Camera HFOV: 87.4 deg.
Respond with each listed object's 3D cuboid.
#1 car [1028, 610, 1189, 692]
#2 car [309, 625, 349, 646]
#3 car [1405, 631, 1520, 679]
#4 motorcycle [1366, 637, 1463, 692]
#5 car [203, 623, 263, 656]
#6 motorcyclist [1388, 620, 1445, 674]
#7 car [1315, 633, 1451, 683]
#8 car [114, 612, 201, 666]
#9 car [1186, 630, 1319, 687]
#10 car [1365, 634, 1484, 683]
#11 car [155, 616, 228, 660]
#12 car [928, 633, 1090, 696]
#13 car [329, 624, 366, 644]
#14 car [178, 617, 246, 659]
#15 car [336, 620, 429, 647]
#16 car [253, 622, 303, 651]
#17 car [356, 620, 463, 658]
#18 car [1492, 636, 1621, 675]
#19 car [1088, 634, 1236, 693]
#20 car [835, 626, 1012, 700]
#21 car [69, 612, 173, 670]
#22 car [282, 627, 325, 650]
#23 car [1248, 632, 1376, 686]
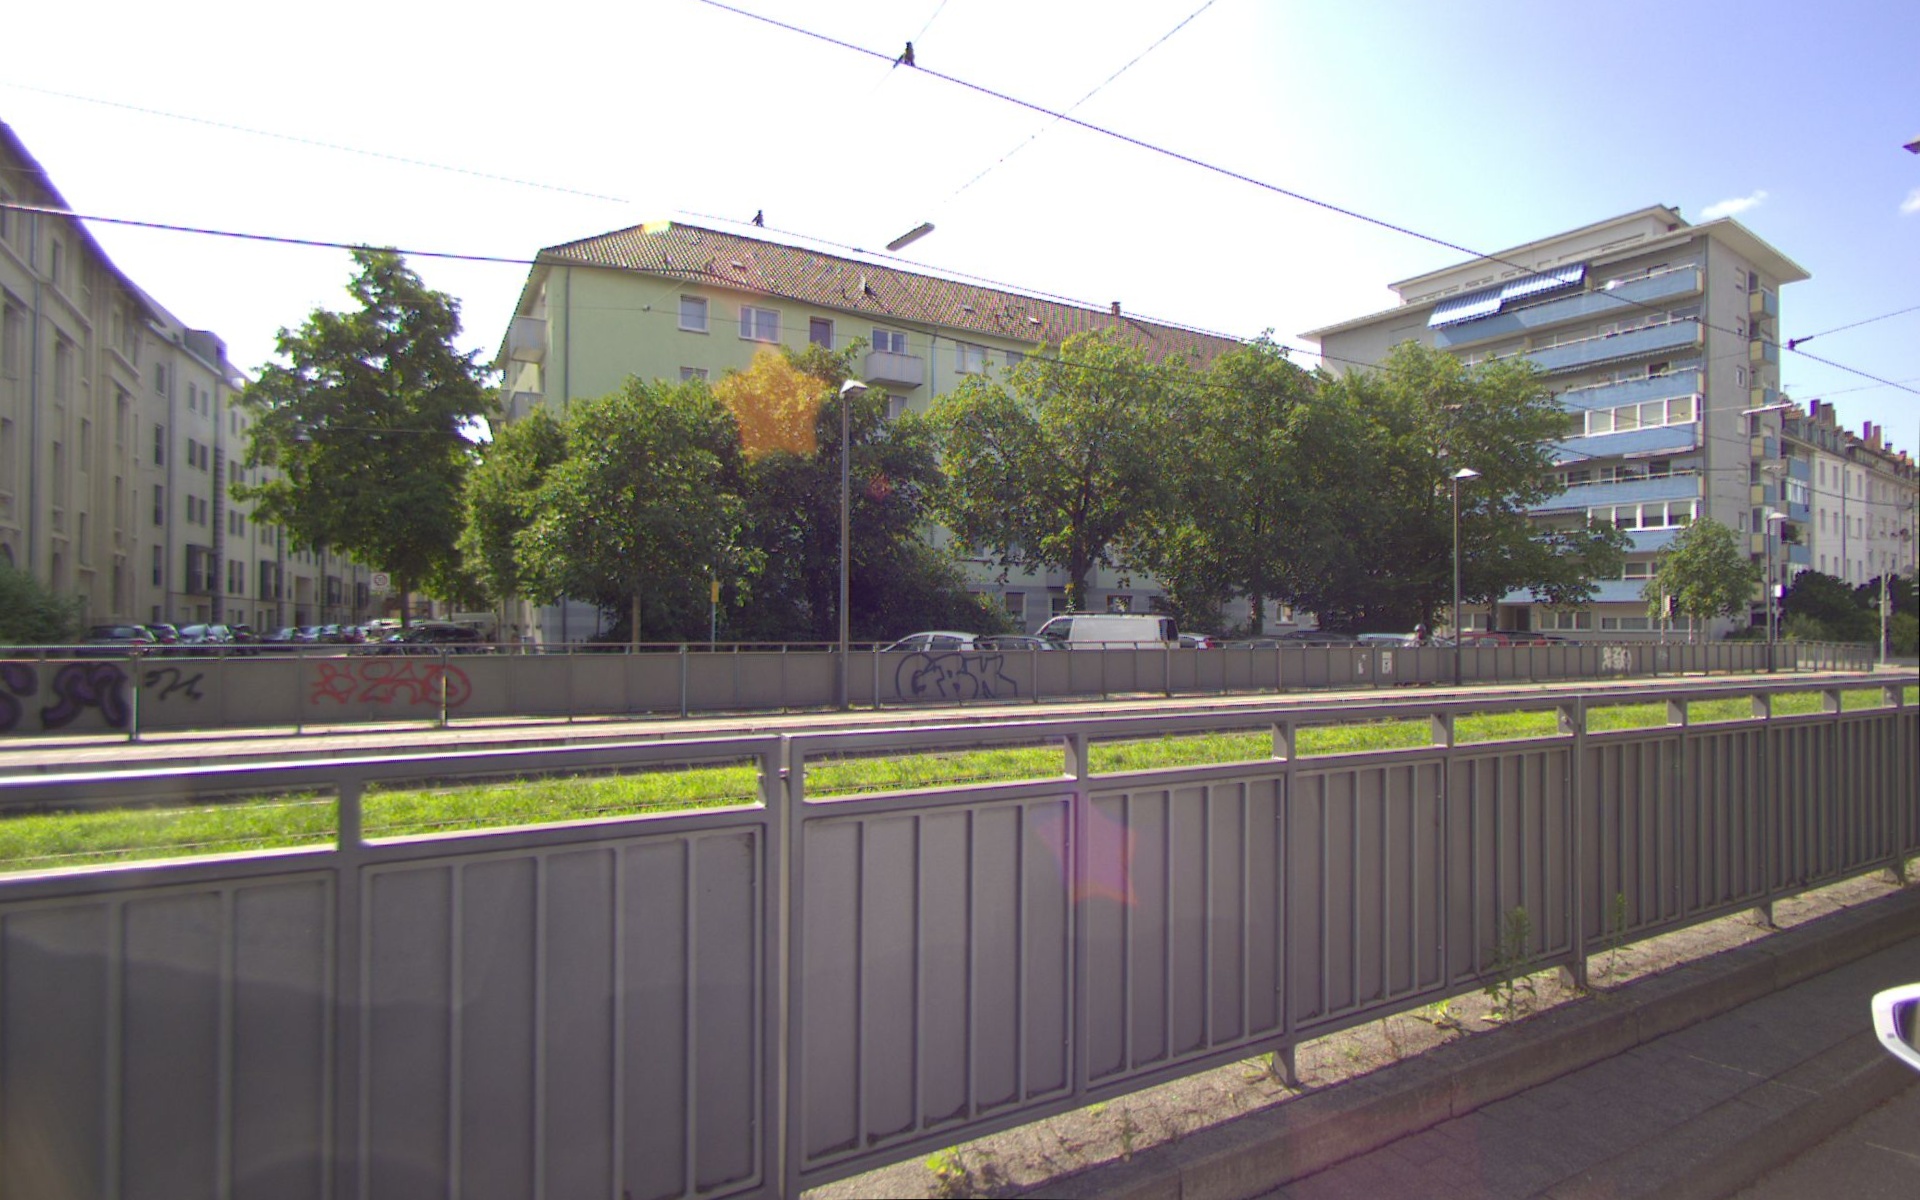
[{"bbox_3d":[4.034,1.335,27.338,3.880,2.097,2.047,-1,-1,29],"label":"car"},{"bbox_3d":[-46.092,2.600,73.458,1.797,1.498,3.980,1,-3,-22],"label":"car"},{"bbox_3d":[18.038,1.941,36.069,3.601,1.600,1.646,-1,-1,29],"label":"car"},{"bbox_3d":[11.641,1.620,25.707,2.487,1.357,1.010,1,-2,-30],"label":"motorcycle"},{"bbox_3d":[-36.882,2.018,51.042,1.800,1.623,3.974,2,-3,-26],"label":"car"},{"bbox_3d":[11.695,1.198,25.733,0.975,1.357,0.934,1,-2,-29],"label":"motorcyclist"},{"bbox_3d":[13.932,1.862,33.124,3.957,1.534,1.606,-1,-2,31],"label":"car"},{"bbox_3d":[-29.331,1.461,36.814,1.802,1.855,3.970,2,-3,-29],"label":"car"},{"bbox_3d":[8.805,1.727,30.293,3.601,1.600,1.646,-1,-1,29],"label":"car"},{"bbox_3d":[16.018,1.980,34.657,3.601,1.600,1.646,-1,-1,29],"label":"car"},{"bbox_3d":[-31.841,1.601,41.717,1.802,1.740,3.970,2,-3,-29],"label":"car"},{"bbox_3d":[1.262,1.629,26.177,3.926,1.505,1.608,-1,-1,27],"label":"car"},{"bbox_3d":[-49.437,2.781,81.115,1.796,1.498,3.982,1,-3,-21],"label":"car"},{"bbox_3d":[-34.586,1.796,46.543,1.800,1.855,3.974,2,-3,-26],"label":"car"},{"bbox_3d":[-30.818,1.783,53.689,1.837,1.383,3.998,-1,-2,24],"label":"car"},{"bbox_3d":[-40.813,2.208,60.215,1.799,1.648,3.976,2,-3,-25],"label":"car"},{"bbox_3d":[-25.037,1.770,45.828,1.837,1.639,3.998,-1,-2,24],"label":"car"},{"bbox_3d":[22.930,2.114,38.765,4.054,1.412,1.609,0,-2,22],"label":"car"},{"bbox_3d":[5.860,1.795,29.192,3.879,1.600,1.716,-1,-1,28],"label":"car"},{"bbox_3d":[-0.884,1.481,24.566,3.923,1.662,1.826,-1,0,23],"label":"car"},{"bbox_3d":[-26.757,1.333,32.180,1.802,1.755,3.970,2,-3,-29],"label":"car"},{"bbox_3d":[-43.911,2.618,67.246,1.799,1.498,3.976,2,-3,-25],"label":"car"},{"bbox_3d":[11.120,1.809,31.754,3.601,1.600,1.646,-1,-1,29],"label":"car"}]
